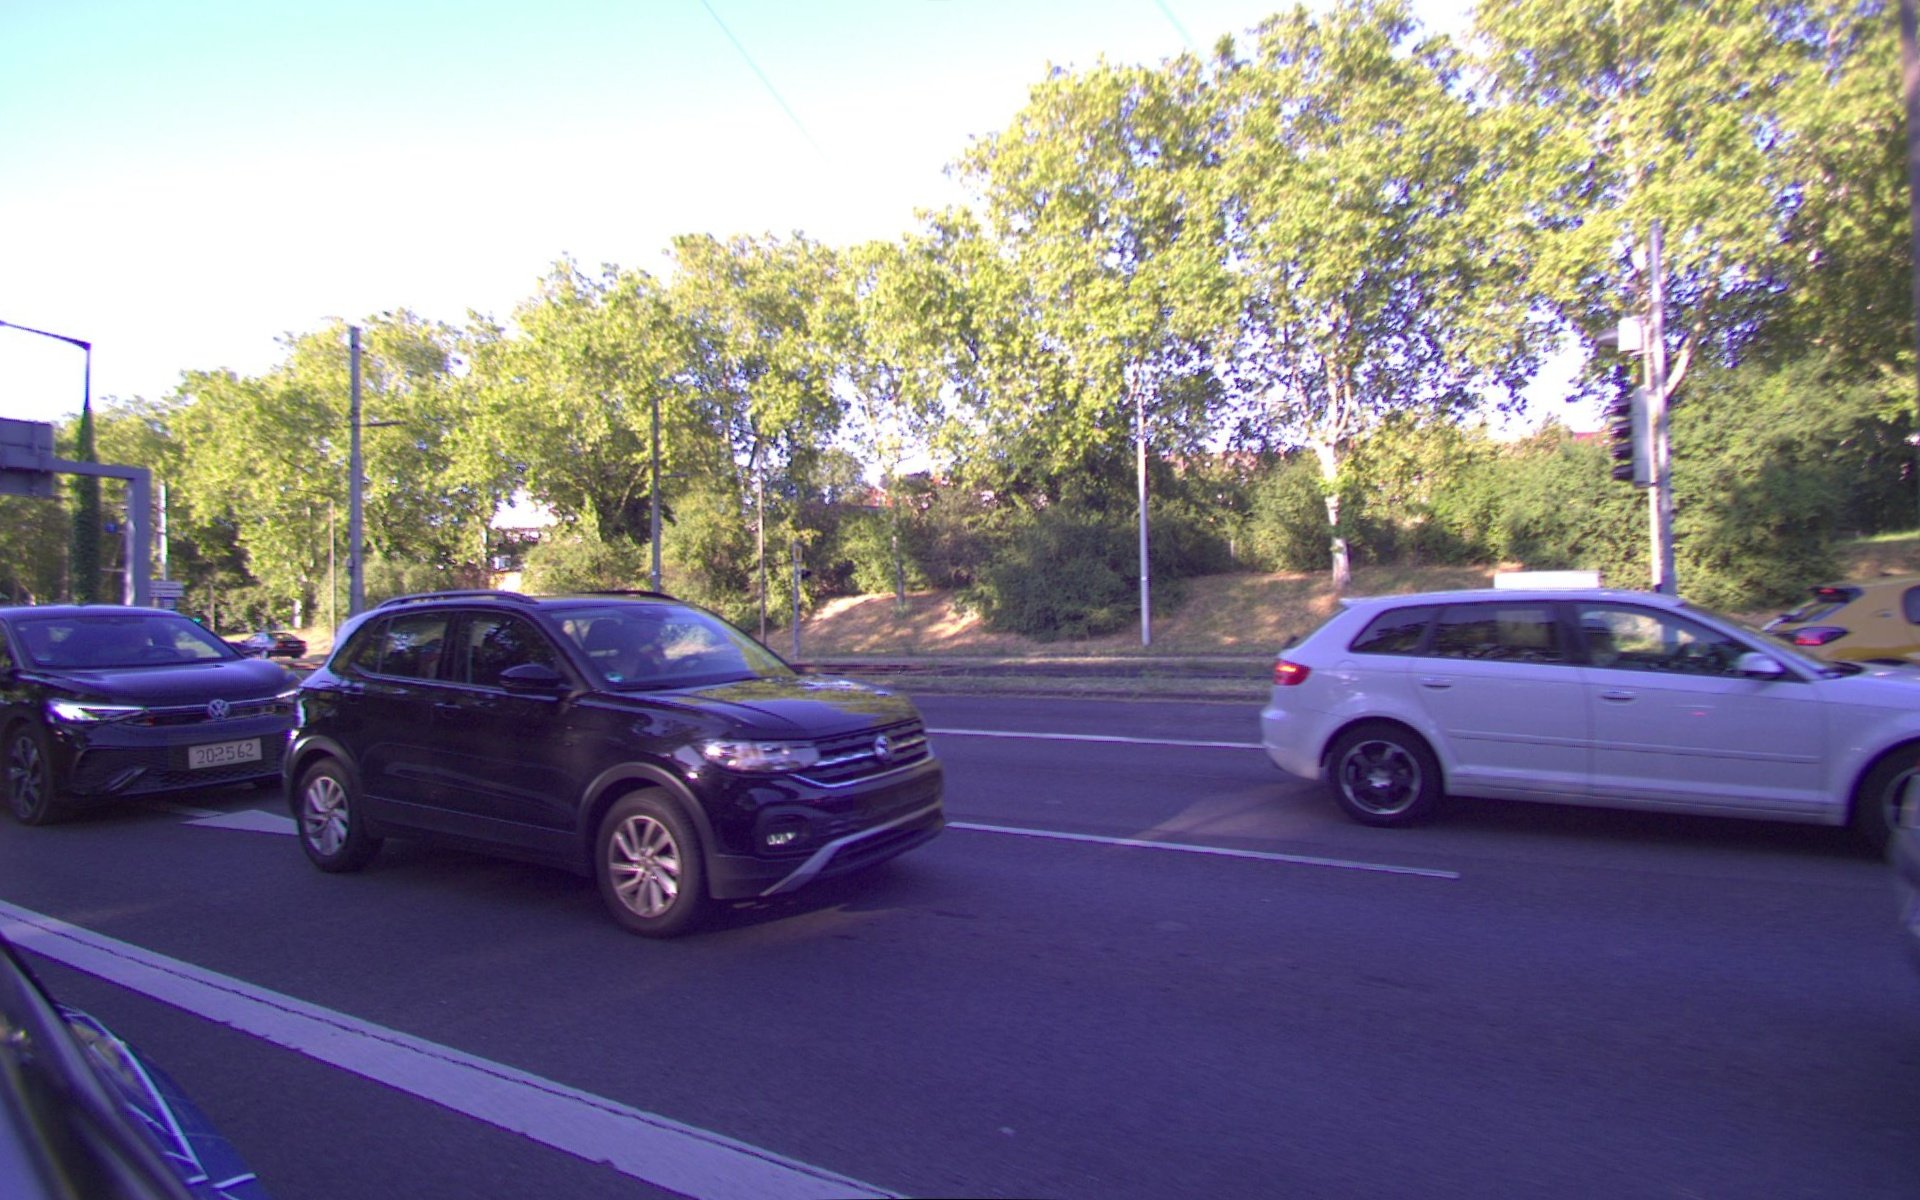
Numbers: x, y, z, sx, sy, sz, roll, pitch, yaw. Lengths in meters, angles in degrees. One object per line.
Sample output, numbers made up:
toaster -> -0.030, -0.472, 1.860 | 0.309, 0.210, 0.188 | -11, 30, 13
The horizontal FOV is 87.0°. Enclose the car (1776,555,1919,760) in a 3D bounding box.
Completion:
car -> 9.058, 0.417, 7.806 | 3.982, 1.577, 1.651 | -3, -4, 29

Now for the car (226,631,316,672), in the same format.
car -> -35.766, 2.678, 52.527 | 4.490, 2.029, 1.908 | -2, -4, 27

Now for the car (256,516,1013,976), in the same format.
car -> -1.887, 0.668, 5.657 | 3.982, 1.763, 1.780 | -3, -4, 29

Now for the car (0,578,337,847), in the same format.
car -> -7.339, 0.857, 8.469 | 4.222, 1.763, 1.780 | -3, -4, 29

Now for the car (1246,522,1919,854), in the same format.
car -> 4.036, 0.494, 6.087 | 4.172, 1.577, 1.651 | -3, -4, 29

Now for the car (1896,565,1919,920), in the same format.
car -> 4.419, 0.527, 1.544 | 3.982, 1.493, 1.780 | -3, -4, 29
